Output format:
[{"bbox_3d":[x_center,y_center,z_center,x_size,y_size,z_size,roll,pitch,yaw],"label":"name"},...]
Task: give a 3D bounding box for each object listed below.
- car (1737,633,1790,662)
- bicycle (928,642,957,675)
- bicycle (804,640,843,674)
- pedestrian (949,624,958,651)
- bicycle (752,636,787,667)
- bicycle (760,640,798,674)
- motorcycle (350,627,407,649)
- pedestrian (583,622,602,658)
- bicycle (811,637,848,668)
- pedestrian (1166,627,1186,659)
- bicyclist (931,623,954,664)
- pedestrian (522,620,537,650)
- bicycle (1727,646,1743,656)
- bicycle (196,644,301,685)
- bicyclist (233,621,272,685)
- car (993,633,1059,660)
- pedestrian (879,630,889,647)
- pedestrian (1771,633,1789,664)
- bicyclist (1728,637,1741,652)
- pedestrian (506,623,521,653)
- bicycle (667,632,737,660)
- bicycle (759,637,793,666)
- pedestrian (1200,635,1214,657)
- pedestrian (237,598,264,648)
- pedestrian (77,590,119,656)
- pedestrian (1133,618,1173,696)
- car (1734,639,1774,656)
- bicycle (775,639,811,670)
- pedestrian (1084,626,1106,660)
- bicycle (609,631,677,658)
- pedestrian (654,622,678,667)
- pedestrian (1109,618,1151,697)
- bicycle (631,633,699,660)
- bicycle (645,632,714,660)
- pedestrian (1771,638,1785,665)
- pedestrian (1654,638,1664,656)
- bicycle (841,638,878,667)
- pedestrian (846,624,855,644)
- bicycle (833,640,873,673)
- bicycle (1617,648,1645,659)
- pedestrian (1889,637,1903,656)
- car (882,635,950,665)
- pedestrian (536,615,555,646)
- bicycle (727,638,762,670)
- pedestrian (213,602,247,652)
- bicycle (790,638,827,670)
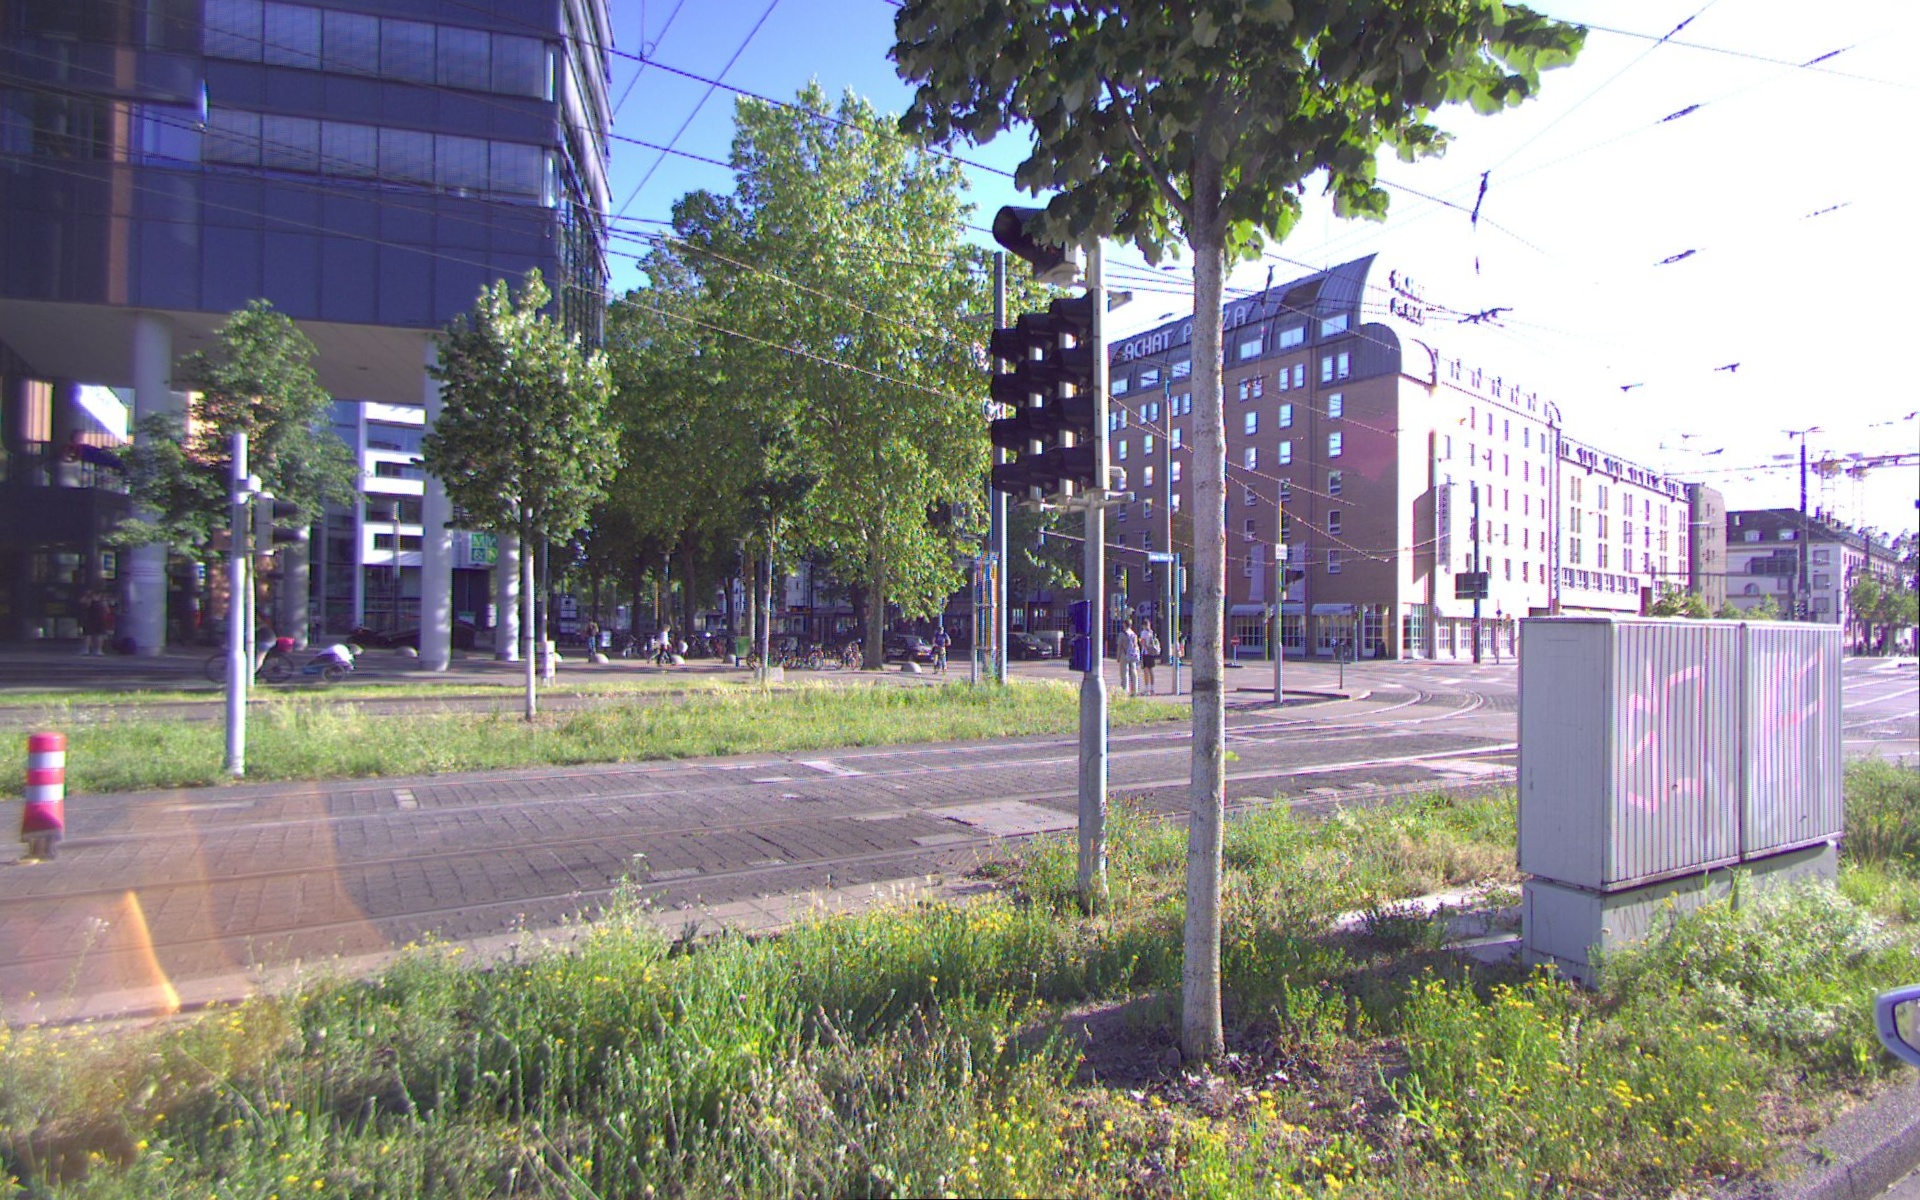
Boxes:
[{"bbox_3d":[53.030,3.124,66.291,4.071,1.859,1.825,2,-4,-38],"label":"car"},{"bbox_3d":[-0.652,2.145,36.929,0.682,1.152,1.846,1,-2,-14],"label":"bicycle"},{"bbox_3d":[-4.965,2.045,36.417,0.592,1.143,2.349,0,-1,-29],"label":"bicycle"},{"bbox_3d":[-0.458,2.658,71.283,0.581,1.853,0.745,1,-1,-1],"label":"pedestrian"},{"bbox_3d":[-7.409,1.983,39.038,0.592,1.143,2.348,0,-1,-30],"label":"bicycle"},{"bbox_3d":[-6.509,2.021,36.075,0.592,1.143,2.349,0,-1,-29],"label":"bicycle"},{"bbox_3d":[-28.660,1.874,49.578,2.309,1.072,0.828,1,-1,-22],"label":"motorcycle"},{"bbox_3d":[-17.303,1.863,47.293,0.691,1.674,0.700,2,-1,-32],"label":"pedestrian"},{"bbox_3d":[-5.245,2.086,40.241,0.592,1.143,2.348,0,-1,-30],"label":"bicycle"},{"bbox_3d":[11.790,2.357,54.781,0.824,1.702,0.708,0,-1,-39],"label":"pedestrian"},{"bbox_3d":[-0.656,1.604,36.959,0.682,1.480,0.752,1,-1,-14],"label":"bicyclist"},{"bbox_3d":[-25.165,2.047,58.737,0.691,1.737,0.727,1,-1,-33],"label":"pedestrian"},{"bbox_3d":[75.070,4.940,97.307,2.490,1.004,0.802,2,-3,-42],"label":"bicycle"},{"bbox_3d":[-17.546,1.581,24.825,2.043,0.962,0.686,2,-2,-31],"label":"bicycle"},{"bbox_3d":[-17.493,1.291,24.854,0.695,1.550,0.686,1,-1,-31],"label":"bicyclist"},{"bbox_3d":[3.588,2.551,55.158,1.653,1.433,3.965,2,-3,-32],"label":"car"},{"bbox_3d":[-5.692,2.876,75.060,0.583,1.179,0.742,1,-1,-17],"label":"pedestrian"},{"bbox_3d":[47.406,2.782,58.071,0.589,1.750,0.715,2,-2,-39],"label":"pedestrian"},{"bbox_3d":[75.010,4.304,97.270,0.919,1.395,0.802,2,-2,-42],"label":"bicyclist"},{"bbox_3d":[-25.881,2.180,58.226,0.691,1.737,0.727,1,-1,-33],"label":"pedestrian"},{"bbox_3d":[-12.807,2.279,49.947,1.021,1.371,3.342,-1,-2,44],"label":"bicycle"},{"bbox_3d":[-7.517,2.087,41.018,0.592,1.143,2.348,0,-1,-30],"label":"bicycle"},{"bbox_3d":[19.459,3.631,79.168,0.734,1.688,0.745,1,-1,-38],"label":"pedestrian"},{"bbox_3d":[-25.137,0.820,35.602,0.691,1.727,0.728,1,-2,-31],"label":"pedestrian"},{"bbox_3d":[-23.077,0.615,26.901,0.691,1.727,0.728,1,-2,-31],"label":"pedestrian"},{"bbox_3d":[4.810,1.406,25.089,0.666,1.894,0.727,1,-2,-33],"label":"pedestrian"},{"bbox_3d":[62.469,3.716,79.039,4.199,1.285,1.822,2,-4,-43],"label":"car"},{"bbox_3d":[-6.480,2.084,38.836,0.592,1.143,2.348,0,-1,-30],"label":"bicycle"},{"bbox_3d":[6.884,2.168,51.218,0.821,1.702,0.711,0,-1,-30],"label":"pedestrian"},{"bbox_3d":[-16.718,2.339,53.122,1.021,1.371,3.342,-1,-2,44],"label":"bicycle"},{"bbox_3d":[-11.593,1.743,39.548,0.819,1.702,0.712,-1,-1,-23],"label":"pedestrian"},{"bbox_3d":[4.140,1.382,24.444,0.691,1.894,0.728,1,-2,-31],"label":"pedestrian"},{"bbox_3d":[-15.359,2.399,52.339,1.021,1.371,3.342,-1,-2,44],"label":"bicycle"},{"bbox_3d":[-14.305,2.347,51.272,1.021,1.371,3.342,-1,-2,44],"label":"bicycle"},{"bbox_3d":[48.634,3.045,59.727,0.573,1.598,0.644,0,-2,36],"label":"pedestrian"},{"bbox_3d":[71.819,4.834,103.159,0.560,1.787,0.711,2,-3,-38],"label":"pedestrian"},{"bbox_3d":[-4.096,2.114,40.759,0.592,1.143,2.348,0,-1,-30],"label":"bicycle"},{"bbox_3d":[-9.096,2.797,83.194,0.557,1.594,0.636,2,0,-20],"label":"pedestrian"},{"bbox_3d":[-3.972,2.086,37.234,0.592,1.143,2.349,0,-1,-29],"label":"bicycle"},{"bbox_3d":[58.469,4.630,87.540,0.477,0.933,2.024,1,-2,-30],"label":"bicycle"},{"bbox_3d":[82.081,4.074,88.079,0.850,1.692,0.781,0,0,39],"label":"pedestrian"},{"bbox_3d":[-2.180,2.427,49.000,1.652,1.425,3.968,2,-3,-30],"label":"car"},{"bbox_3d":[-22.505,1.668,54.535,0.685,1.644,0.734,1,-1,1],"label":"pedestrian"},{"bbox_3d":[-8.301,2.052,38.607,0.592,1.143,2.348,0,-1,-30],"label":"bicycle"},{"bbox_3d":[-24.480,0.899,33.700,0.722,1.644,0.696,1,-1,-18],"label":"pedestrian"},{"bbox_3d":[-5.905,2.083,39.105,0.592,1.143,2.348,0,-1,-30],"label":"bicycle"}]
